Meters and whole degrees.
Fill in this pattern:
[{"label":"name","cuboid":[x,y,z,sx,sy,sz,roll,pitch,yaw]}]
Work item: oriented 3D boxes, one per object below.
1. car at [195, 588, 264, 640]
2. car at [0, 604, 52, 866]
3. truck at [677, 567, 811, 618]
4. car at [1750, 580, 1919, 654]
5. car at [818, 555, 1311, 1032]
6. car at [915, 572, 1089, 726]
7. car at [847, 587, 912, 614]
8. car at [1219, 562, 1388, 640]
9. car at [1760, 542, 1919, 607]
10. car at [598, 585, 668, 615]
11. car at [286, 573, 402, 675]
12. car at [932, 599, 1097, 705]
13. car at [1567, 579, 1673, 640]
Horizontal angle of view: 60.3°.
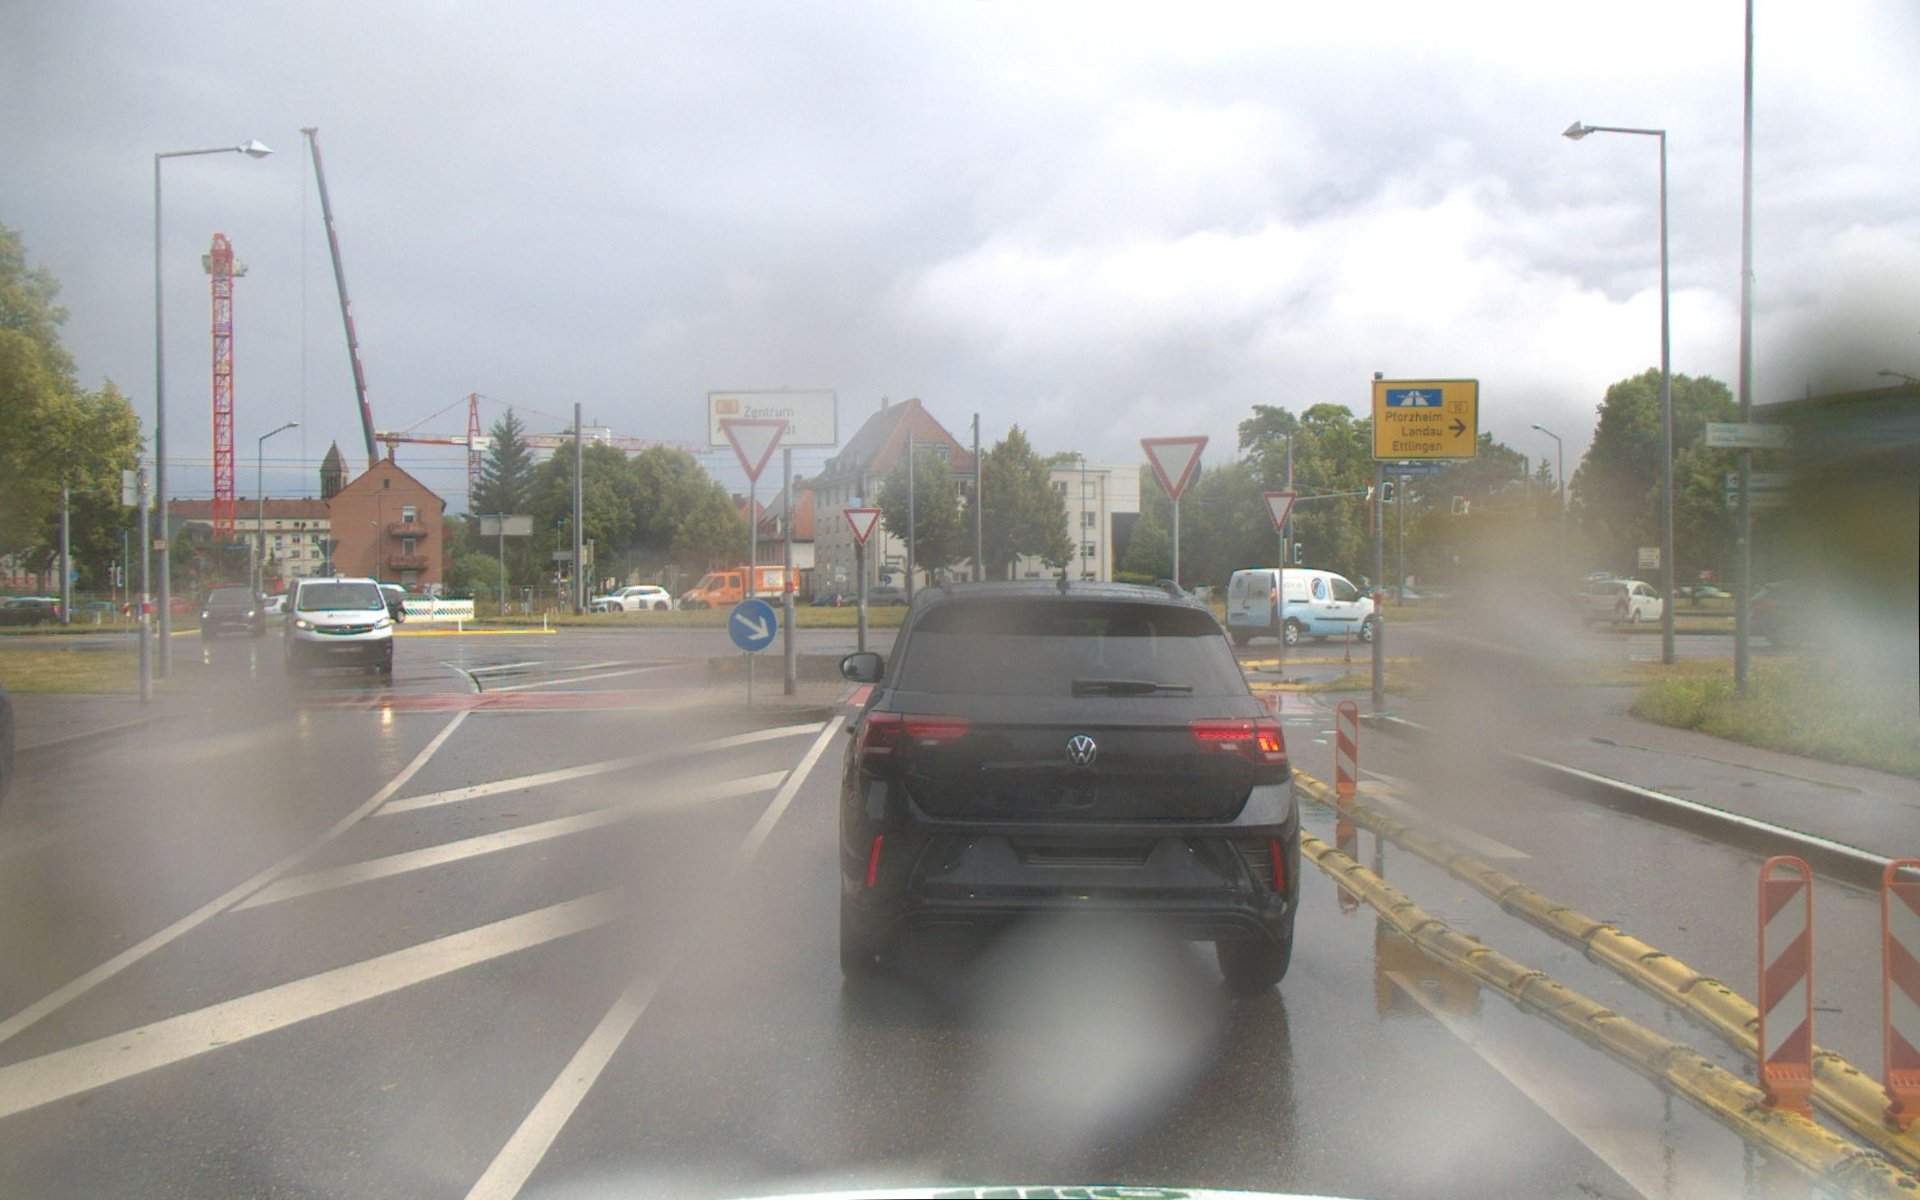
[{"label":"car","cuboid":[-24.644,0.448,55.716,1.716,1.693,4.068,-1,0,-30]},{"label":"car","cuboid":[-6.274,0.782,8.043,1.839,1.508,4.171,-1,0,-7]},{"label":"truck","cuboid":[-11.842,-0.420,90.890,6.992,2.696,2.306,0,0,-30]},{"label":"car","cuboid":[20.656,0.373,38.580,3.859,1.673,1.671,0,0,20]},{"label":"car","cuboid":[0.258,0.654,7.454,1.674,1.601,3.680,0,0,-3]},{"label":"car","cuboid":[0.379,0.477,18.438,1.700,1.540,3.602,0,0,-2]},{"label":"car","cuboid":[-4.853,0.002,99.360,3.797,1.612,1.565,0,0,-6]},{"label":"car","cuboid":[8.537,-0.003,40.972,4.363,1.841,1.843,0,1,-40]},{"label":"car","cuboid":[22.641,-0.634,41.716,4.299,1.575,1.870,0,0,21]},{"label":"car","cuboid":[-18.055,0.006,91.359,3.474,1.612,1.544,0,1,-40]},{"label":"car","cuboid":[-12.666,0.451,33.831,1.864,1.909,5.092,-1,0,-25]},{"label":"car","cuboid":[1.099,0.891,30.397,1.951,1.755,4.359,-1,0,17]},{"label":"car","cuboid":[21.007,0.269,52.570,1.963,1.862,3.979,0,0,40]}]
